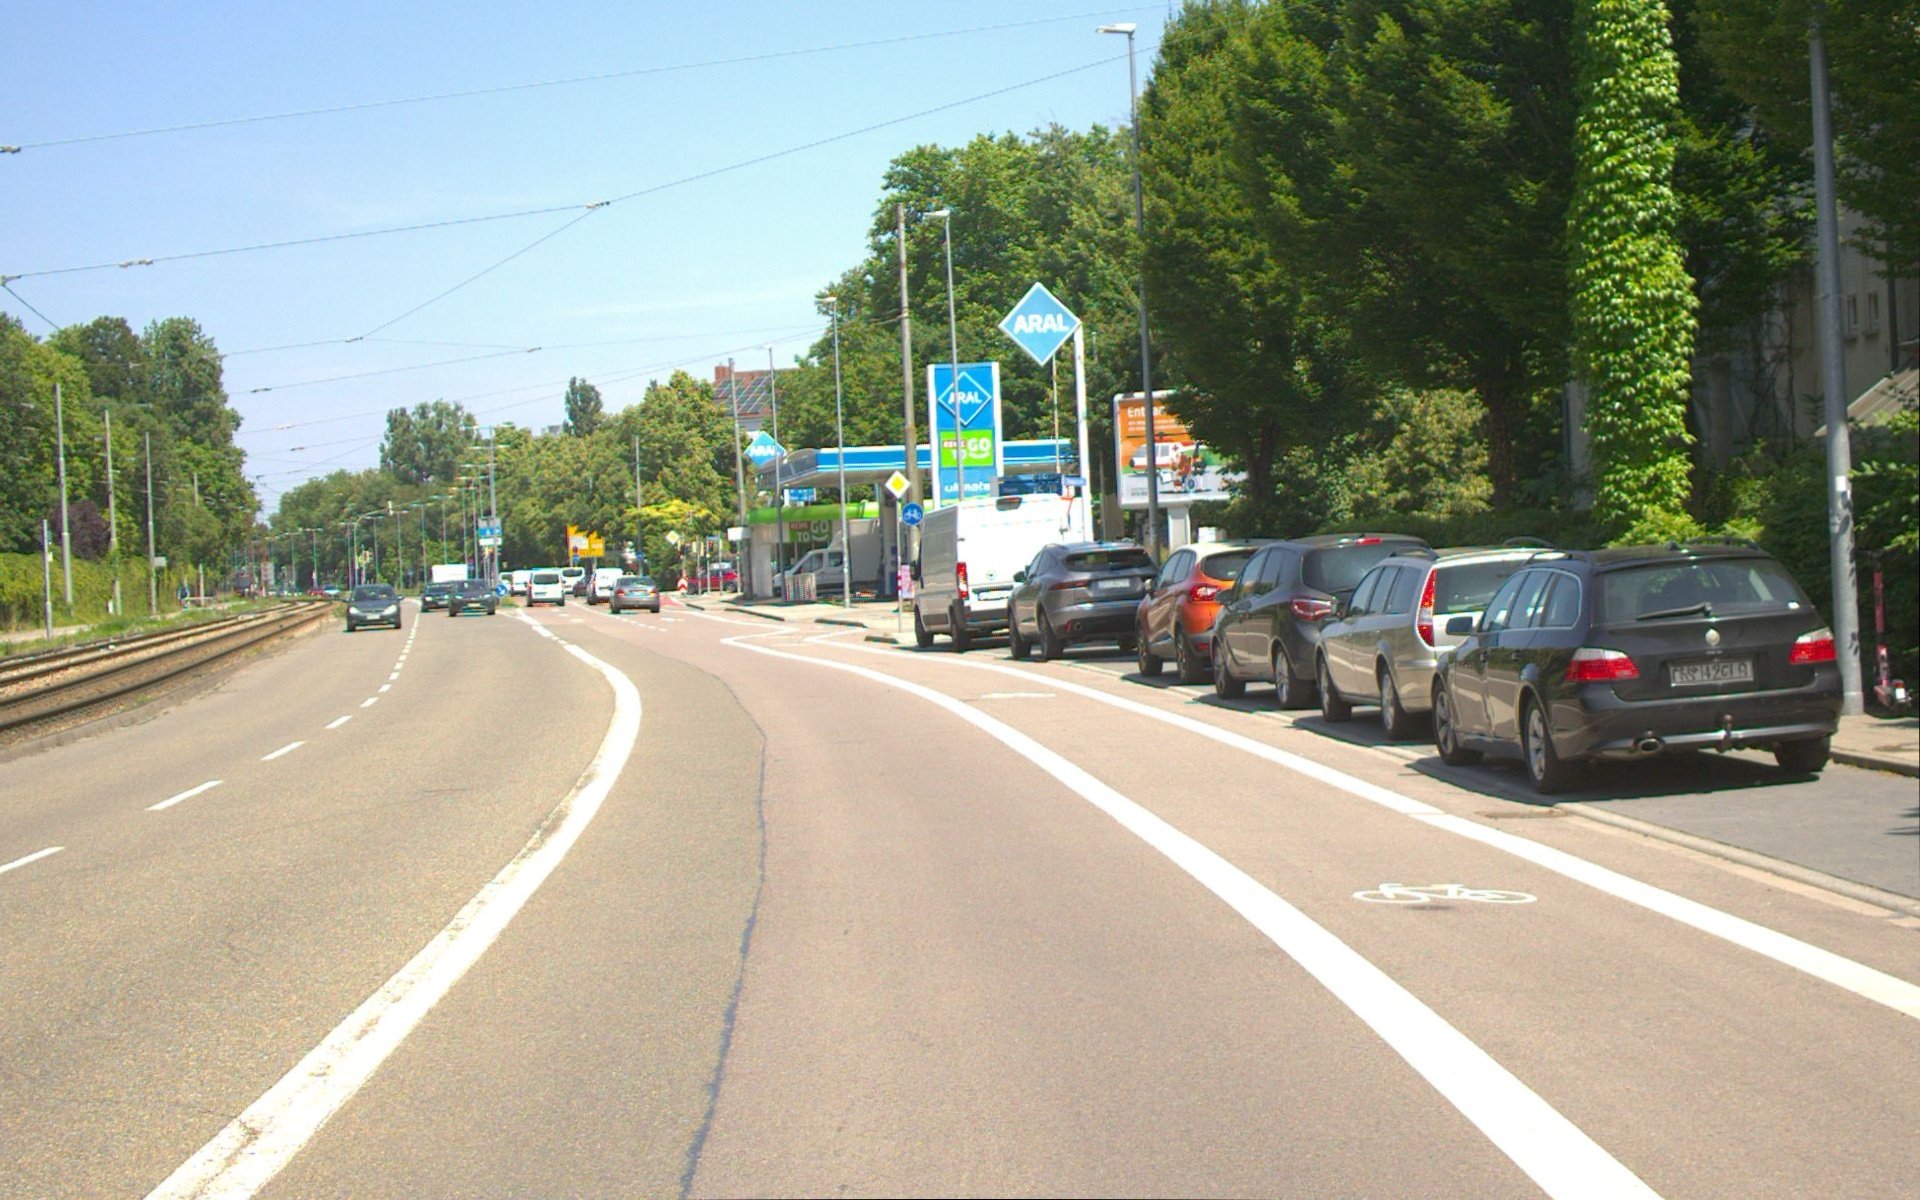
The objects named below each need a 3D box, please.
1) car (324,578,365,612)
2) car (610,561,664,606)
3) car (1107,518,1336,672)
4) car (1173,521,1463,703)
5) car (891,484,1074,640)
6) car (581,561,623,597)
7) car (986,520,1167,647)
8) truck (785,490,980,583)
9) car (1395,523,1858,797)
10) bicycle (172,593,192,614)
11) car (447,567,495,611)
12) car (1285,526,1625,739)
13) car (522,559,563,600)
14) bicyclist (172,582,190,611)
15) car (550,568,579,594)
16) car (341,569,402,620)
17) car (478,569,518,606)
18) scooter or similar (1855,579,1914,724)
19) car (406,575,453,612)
[{"bbox_3d":[-32.284,-0.241,180.266,1.755,1.625,4.325,-5,1,-14],"label":"car"},{"bbox_3d":[-12.617,-0.657,134.206,1.755,1.625,4.325,-4,1,-8],"label":"car"},{"bbox_3d":[2.963,-0.078,39.891,1.706,1.557,4.325,-4,1,-7],"label":"car"},{"bbox_3d":[3.452,0.086,33.969,1.706,1.557,4.325,-4,1,-9],"label":"car"},{"bbox_3d":[0.324,-0.653,60.021,2.000,2.448,6.111,-4,1,-9],"label":"car"},{"bbox_3d":[-17.712,-1.036,169.934,1.755,1.625,4.325,-4,1,-8],"label":"car"},{"bbox_3d":[1.636,-0.249,49.887,1.755,1.625,4.325,-4,1,-8],"label":"car"},{"bbox_3d":[-3.278,-2.657,144.078,7.967,3.590,2.663,-2,1,-2],"label":"truck"},{"bbox_3d":[4.253,0.312,22.777,1.706,1.487,5.039,-4,1,-3],"label":"car"},{"bbox_3d":[-43.297,0.197,191.390,0.681,1.050,2.009,-7,0,-3],"label":"bicycle"},{"bbox_3d":[-19.895,-0.469,139.740,1.755,1.625,4.325,-4,1,-8],"label":"car"},{"bbox_3d":[3.994,0.212,28.543,1.706,1.487,4.732,-4,1,-4],"label":"car"},{"bbox_3d":[-20.463,-0.999,168.442,1.755,1.868,4.325,-3,1,-9],"label":"car"},{"bbox_3d":[-43.345,-0.185,191.396,0.681,1.569,0.795,-7,0,-3],"label":"bicyclist"},{"bbox_3d":[-27.129,-1.320,235.842,1.755,1.625,4.325,-4,1,-8],"label":"car"},{"bbox_3d":[-18.996,-0.190,111.098,1.755,1.504,4.325,-4,1,-8],"label":"car"},{"bbox_3d":[-22.294,-0.629,165.939,1.755,1.625,4.325,-4,1,-7],"label":"car"},{"bbox_3d":[6.729,0.362,25.027,0.334,1.028,1.082,0,0,11],"label":"scooter or similar"},{"bbox_3d":[-25.805,-0.328,167.190,1.755,1.625,4.325,-5,1,-14],"label":"car"}]
